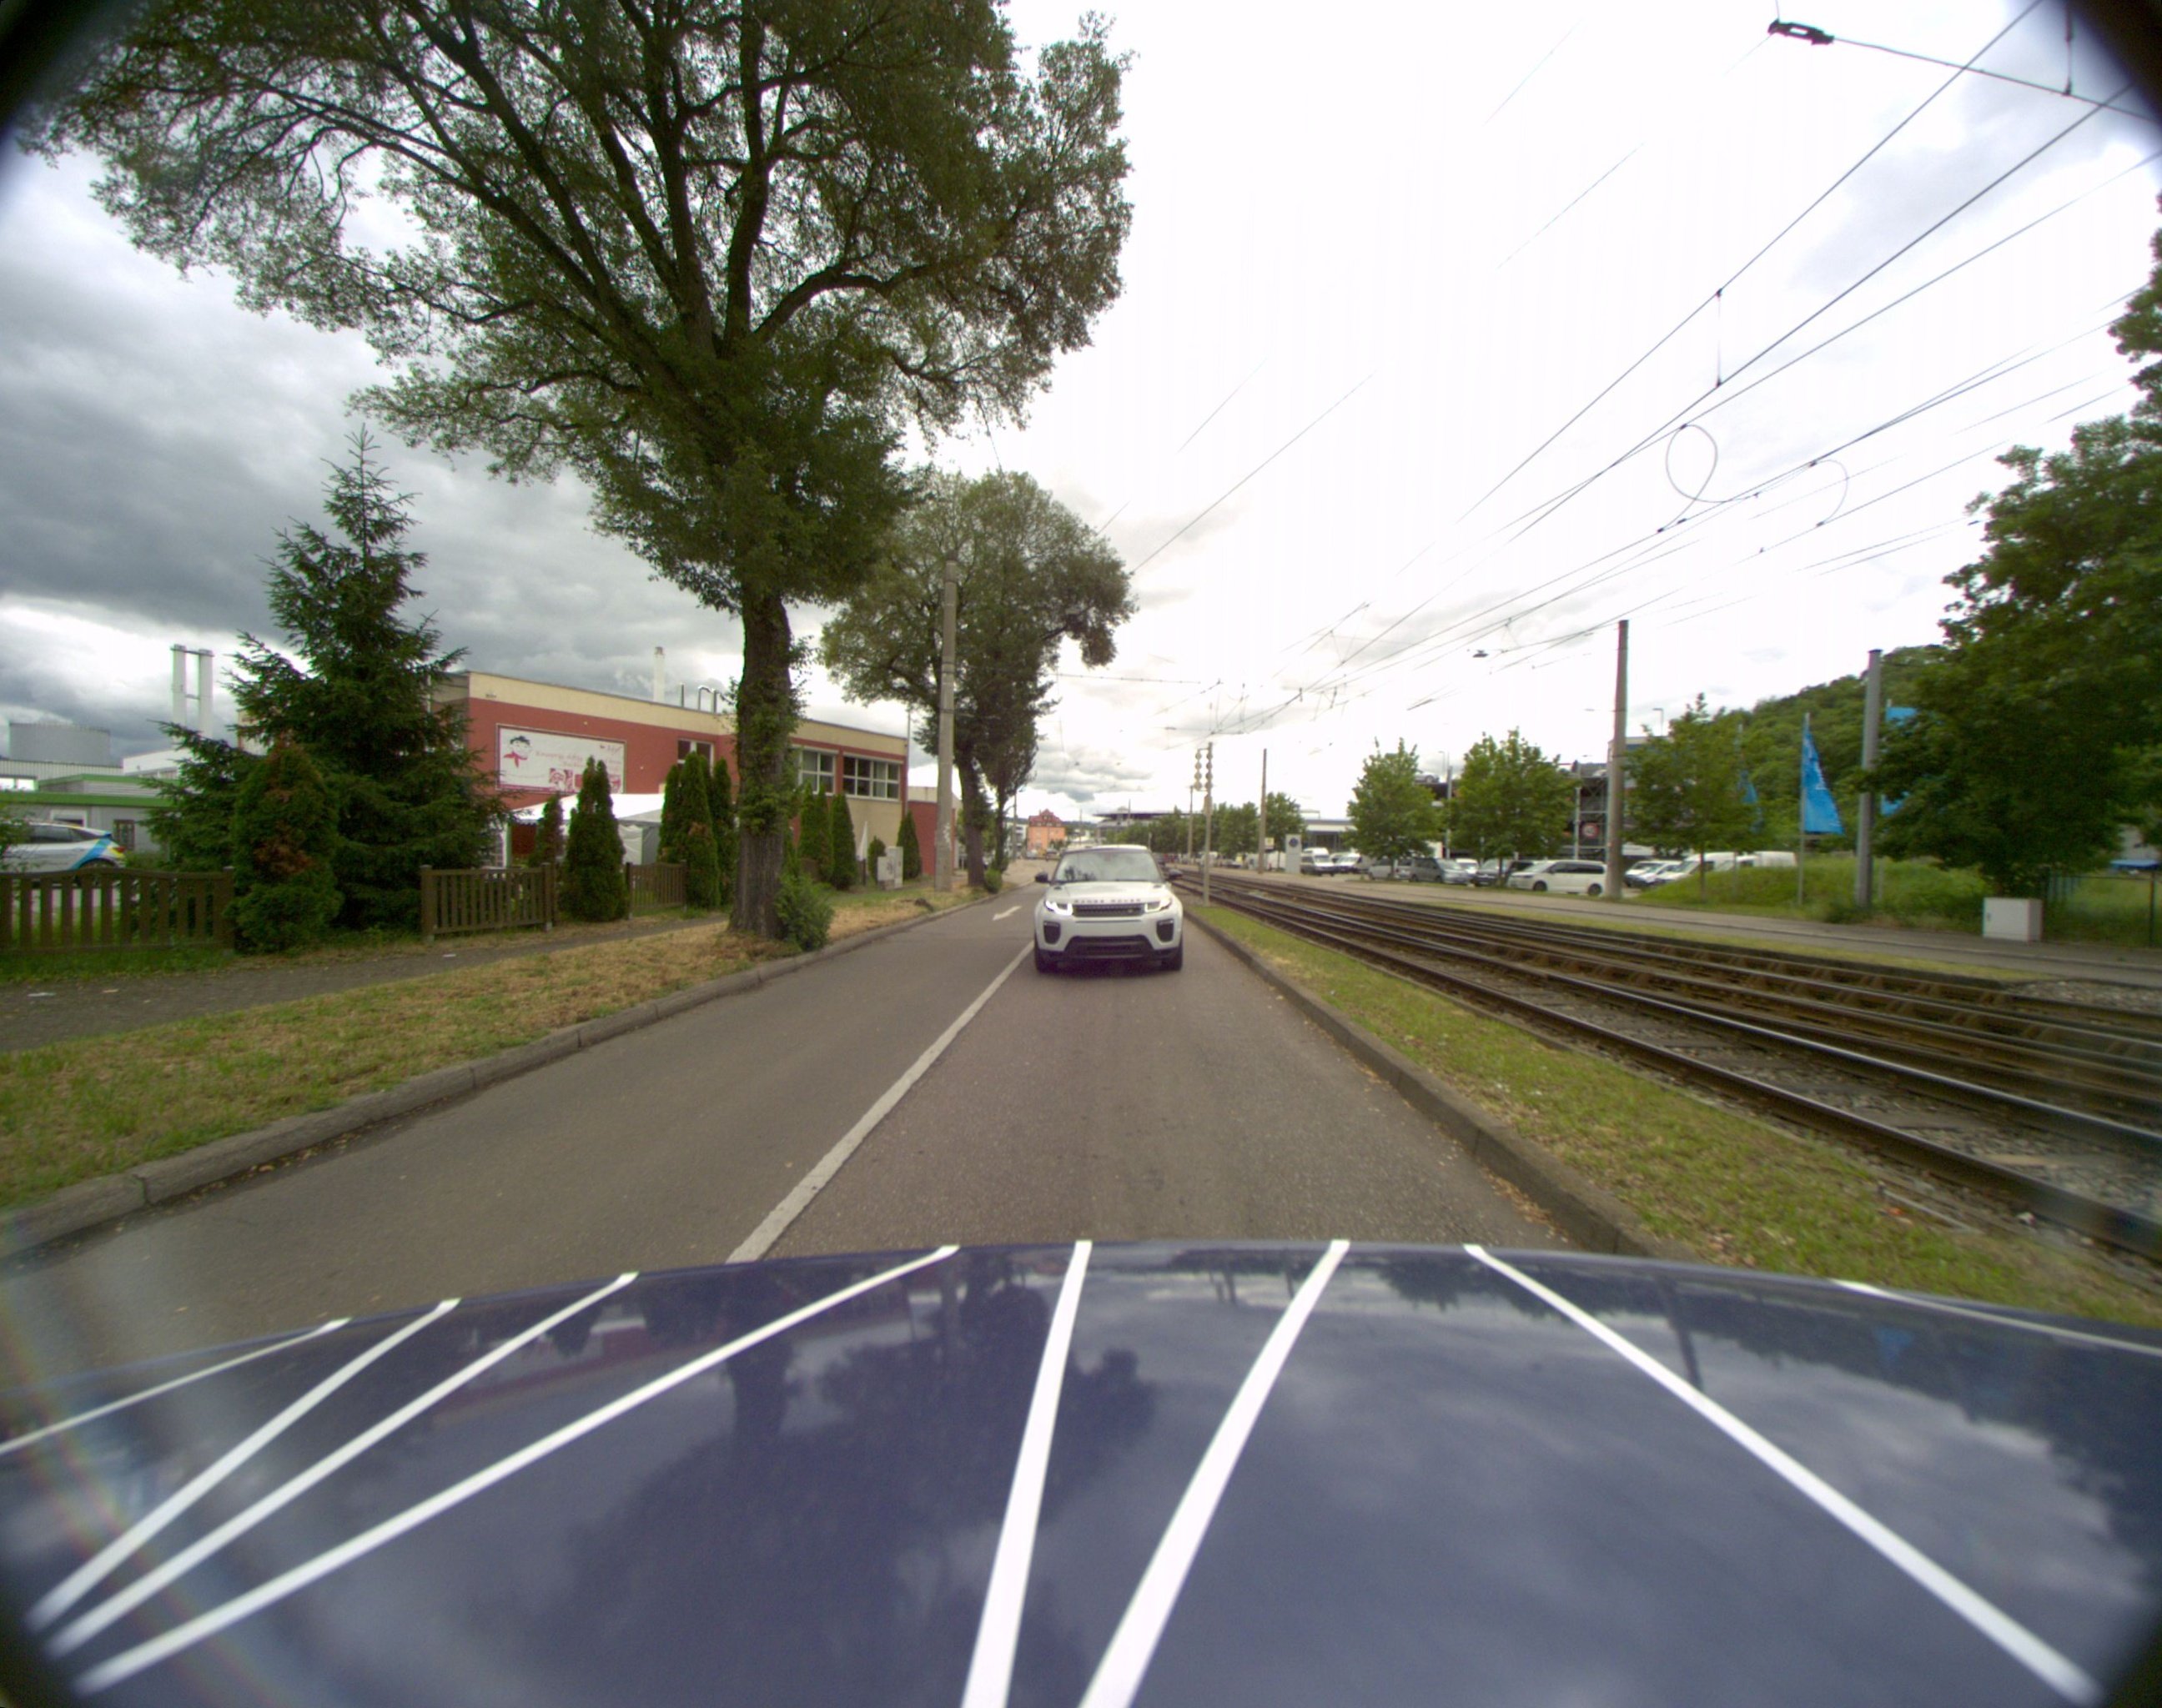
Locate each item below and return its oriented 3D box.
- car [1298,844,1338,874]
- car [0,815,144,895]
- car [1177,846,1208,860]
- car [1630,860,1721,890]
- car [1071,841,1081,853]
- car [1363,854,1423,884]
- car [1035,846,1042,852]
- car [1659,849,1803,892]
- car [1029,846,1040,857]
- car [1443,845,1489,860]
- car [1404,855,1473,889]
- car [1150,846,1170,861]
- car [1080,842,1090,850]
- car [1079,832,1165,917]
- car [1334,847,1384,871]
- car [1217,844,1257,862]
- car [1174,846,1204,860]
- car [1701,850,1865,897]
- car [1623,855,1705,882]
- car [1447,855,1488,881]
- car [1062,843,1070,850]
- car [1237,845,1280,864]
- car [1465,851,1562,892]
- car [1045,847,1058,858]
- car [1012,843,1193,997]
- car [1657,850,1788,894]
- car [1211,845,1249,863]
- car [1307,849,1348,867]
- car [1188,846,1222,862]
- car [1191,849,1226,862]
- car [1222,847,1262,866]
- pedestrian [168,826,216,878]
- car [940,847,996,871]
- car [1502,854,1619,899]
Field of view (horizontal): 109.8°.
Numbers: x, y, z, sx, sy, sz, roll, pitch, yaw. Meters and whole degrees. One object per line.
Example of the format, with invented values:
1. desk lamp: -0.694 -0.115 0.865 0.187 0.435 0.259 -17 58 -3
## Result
1. car: 24.840 0.484 79.936 2.320 2.994 6.158 -2 1 1
2. car: -24.337 0.047 16.912 1.854 1.740 4.000 -2 1 2
3. car: 18.598 -0.159 127.036 4.638 2.196 2.107 -2 1 -6
4. car: 38.170 1.347 48.918 4.227 1.826 1.983 -1 1 21
5. car: -1.249 -1.824 188.034 2.410 2.931 4.747 -2 1 -1
6. car: 23.921 1.120 58.463 2.142 2.104 4.773 -2 1 -7
7. car: -13.719 -1.558 243.703 1.999 2.002 3.997 -2 1 -5
8. car: 36.468 0.930 42.866 5.838 2.254 2.056 -1 1 24
9. car: -8.425 -0.379 138.293 1.905 1.708 4.134 6 2 -3
10. car: 49.308 -0.198 97.420 5.216 1.826 1.983 -1 1 23
11. car: 24.472 1.183 52.200 2.142 2.104 4.773 -2 1 -5
12. car: 10.281 -0.073 99.671 1.905 1.708 4.134 6 2 -2
13. car: 0.952 -1.941 185.612 1.999 2.002 3.997 -2 1 -5
14. car: 1.113 0.472 20.494 1.998 1.990 5.035 1 1 3
15. car: 33.176 0.523 90.496 6.057 2.608 2.316 -2 1 -32
16. car: 20.530 -0.184 100.089 4.638 2.196 2.107 -2 1 -6
17. car: 18.394 -0.189 129.478 4.638 2.196 2.107 -2 1 -6
18. car: 35.899 1.003 39.120 5.849 2.254 2.056 -1 1 24
19. car: 41.546 1.040 54.228 4.227 1.826 1.983 -1 1 21
20. car: 30.740 1.096 60.567 1.899 1.882 4.600 -2 1 13
21. car: -4.253 -2.026 212.339 1.999 2.002 3.997 -2 1 -5
22. car: 21.553 0.064 92.529 4.638 2.196 2.107 -2 1 -6
23. car: 26.100 1.054 45.965 4.773 2.254 1.979 -2 1 -1
24. car: -4.716 -0.225 121.395 1.869 1.740 3.998 -2 1 -3
25. car: 0.312 0.742 10.815 1.998 1.680 4.269 -3 0 2
26. car: 38.458 1.075 45.752 5.651 2.446 1.983 -1 1 21
27. car: 20.191 -0.019 102.886 4.638 2.196 2.107 -2 1 -6
28. car: 32.129 0.490 99.163 4.636 2.196 2.109 -2 1 1
29. car: 19.088 -0.025 117.015 4.638 2.196 2.107 -2 1 -6
30. car: 19.217 0.191 114.614 4.638 1.830 2.107 -2 1 -6
31. car: 20.662 0.295 97.651 4.638 2.196 2.107 -2 1 -6
32. pedestrian: -30.975 -0.070 26.487 0.867 1.751 0.599 -3 2 -30
33. car: -8.429 0.365 57.077 3.998 1.636 1.895 -2 1 -4
34. car: 26.601 1.244 42.272 5.268 2.254 1.999 -2 1 -1
